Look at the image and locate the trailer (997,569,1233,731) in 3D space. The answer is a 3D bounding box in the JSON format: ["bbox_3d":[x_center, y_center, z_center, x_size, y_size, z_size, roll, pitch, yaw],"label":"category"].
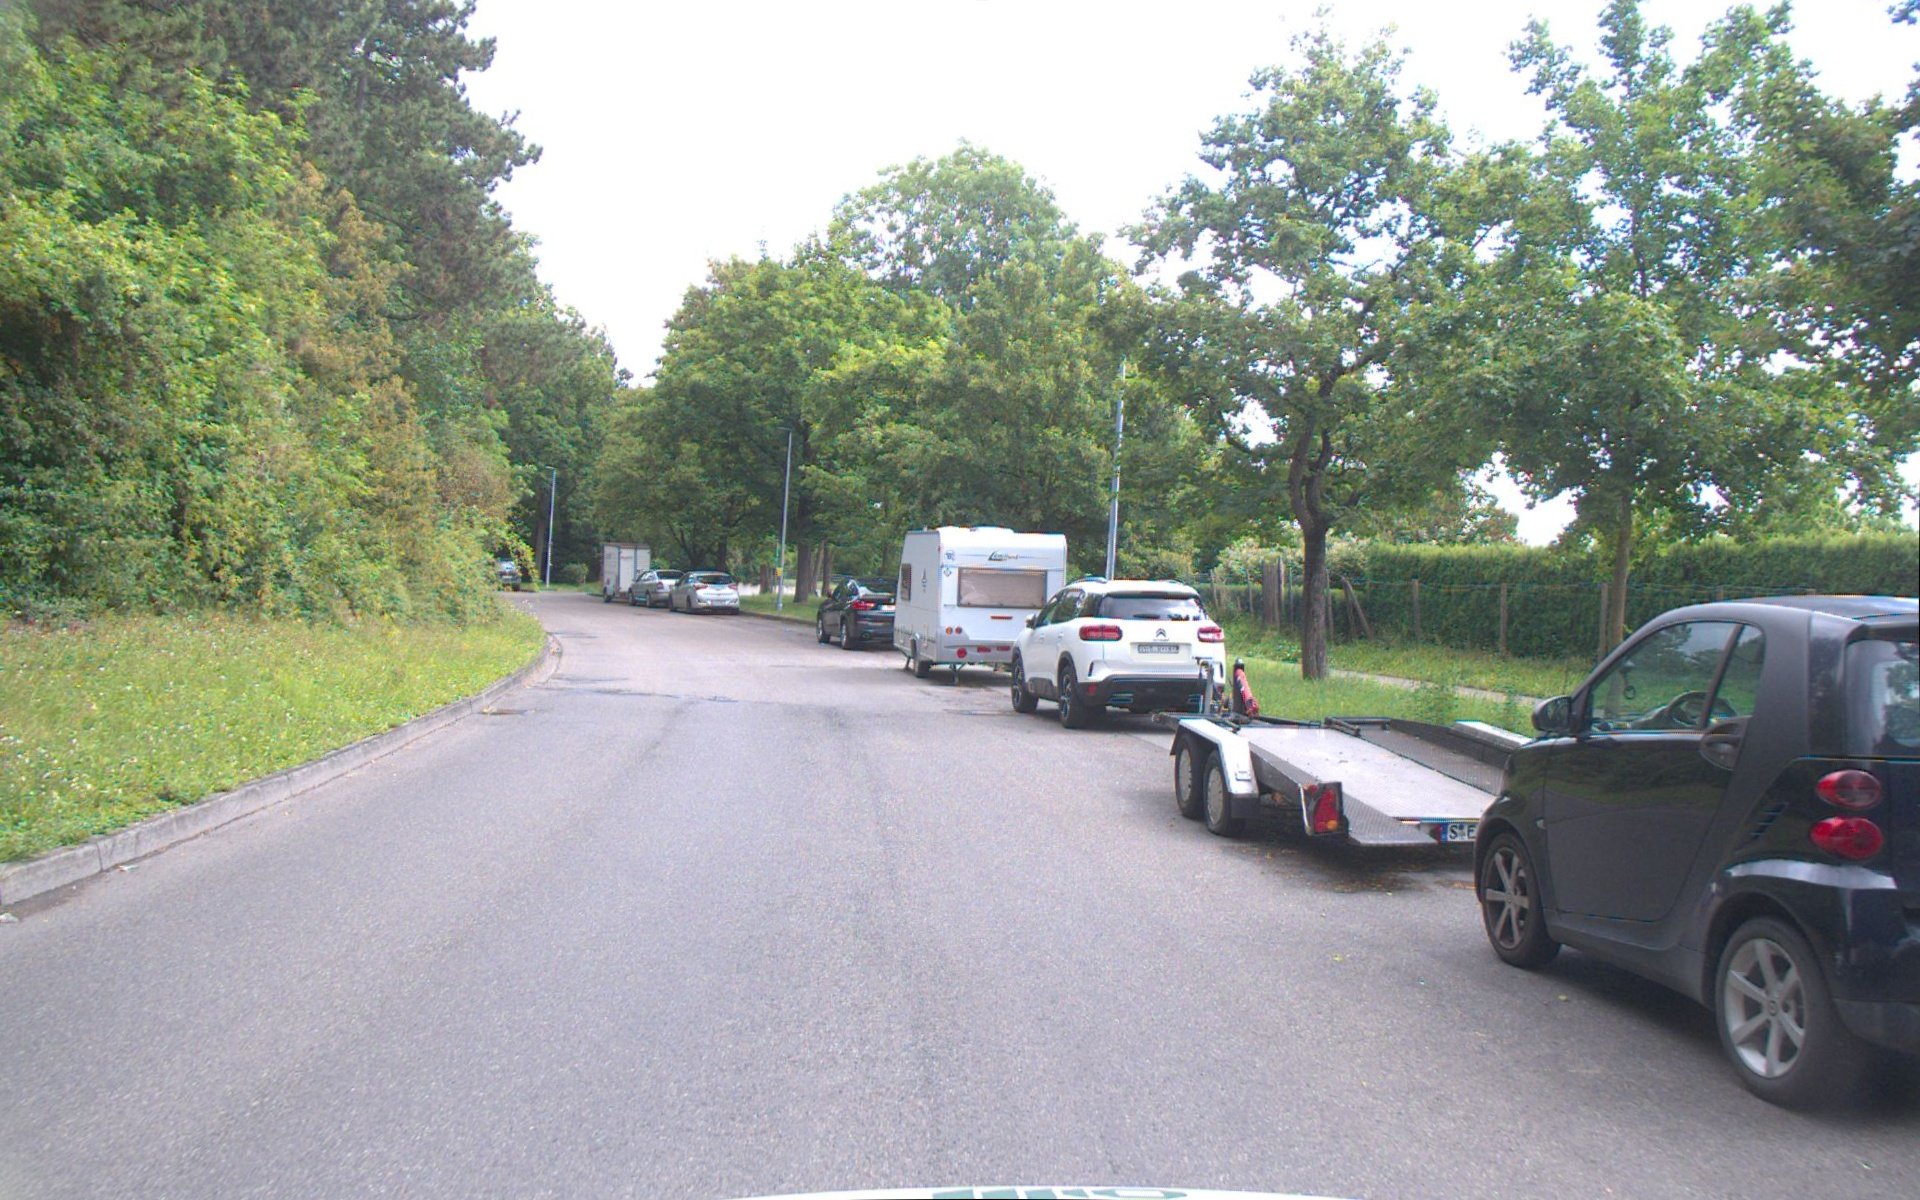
[{"bbox_3d":[1.758,0.568,20.371,1.740,1.761,4.639,1,-1,-10],"label":"trailer"}]

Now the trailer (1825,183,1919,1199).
[{"bbox_3d":[3.310,0.363,1.687,2.065,2.402,4.697,0,2,-5],"label":"trailer"}]

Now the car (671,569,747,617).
[{"bbox_3d":[-8.916,-0.225,58.469,1.874,1.502,4.035,3,-2,-20],"label":"car"}]

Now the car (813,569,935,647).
[{"bbox_3d":[-2.092,0.146,38.860,1.819,1.671,4.510,2,0,-17],"label":"car"}]

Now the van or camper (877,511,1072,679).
[{"bbox_3d":[0.100,-0.080,29.387,2.123,2.580,6.013,3,0,-12],"label":"van or camper"}]

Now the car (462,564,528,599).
[{"bbox_3d":[-24.102,-0.958,85.565,1.760,1.691,4.781,4,-1,-35],"label":"car"}]

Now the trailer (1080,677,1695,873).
[{"bbox_3d":[2.530,1.088,11.960,2.064,0.662,6.390,3,0,-7],"label":"trailer"}]

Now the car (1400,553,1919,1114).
[{"bbox_3d":[3.173,0.709,6.376,1.696,1.549,3.400,3,-1,-6],"label":"car"}]

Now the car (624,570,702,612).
[{"bbox_3d":[-11.634,-0.379,64.591,1.721,1.552,4.595,1,0,-27],"label":"car"}]

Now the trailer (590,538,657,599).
[{"bbox_3d":[-14.133,-1.318,69.330,1.740,2.469,3.852,1,1,-28],"label":"trailer"}]
